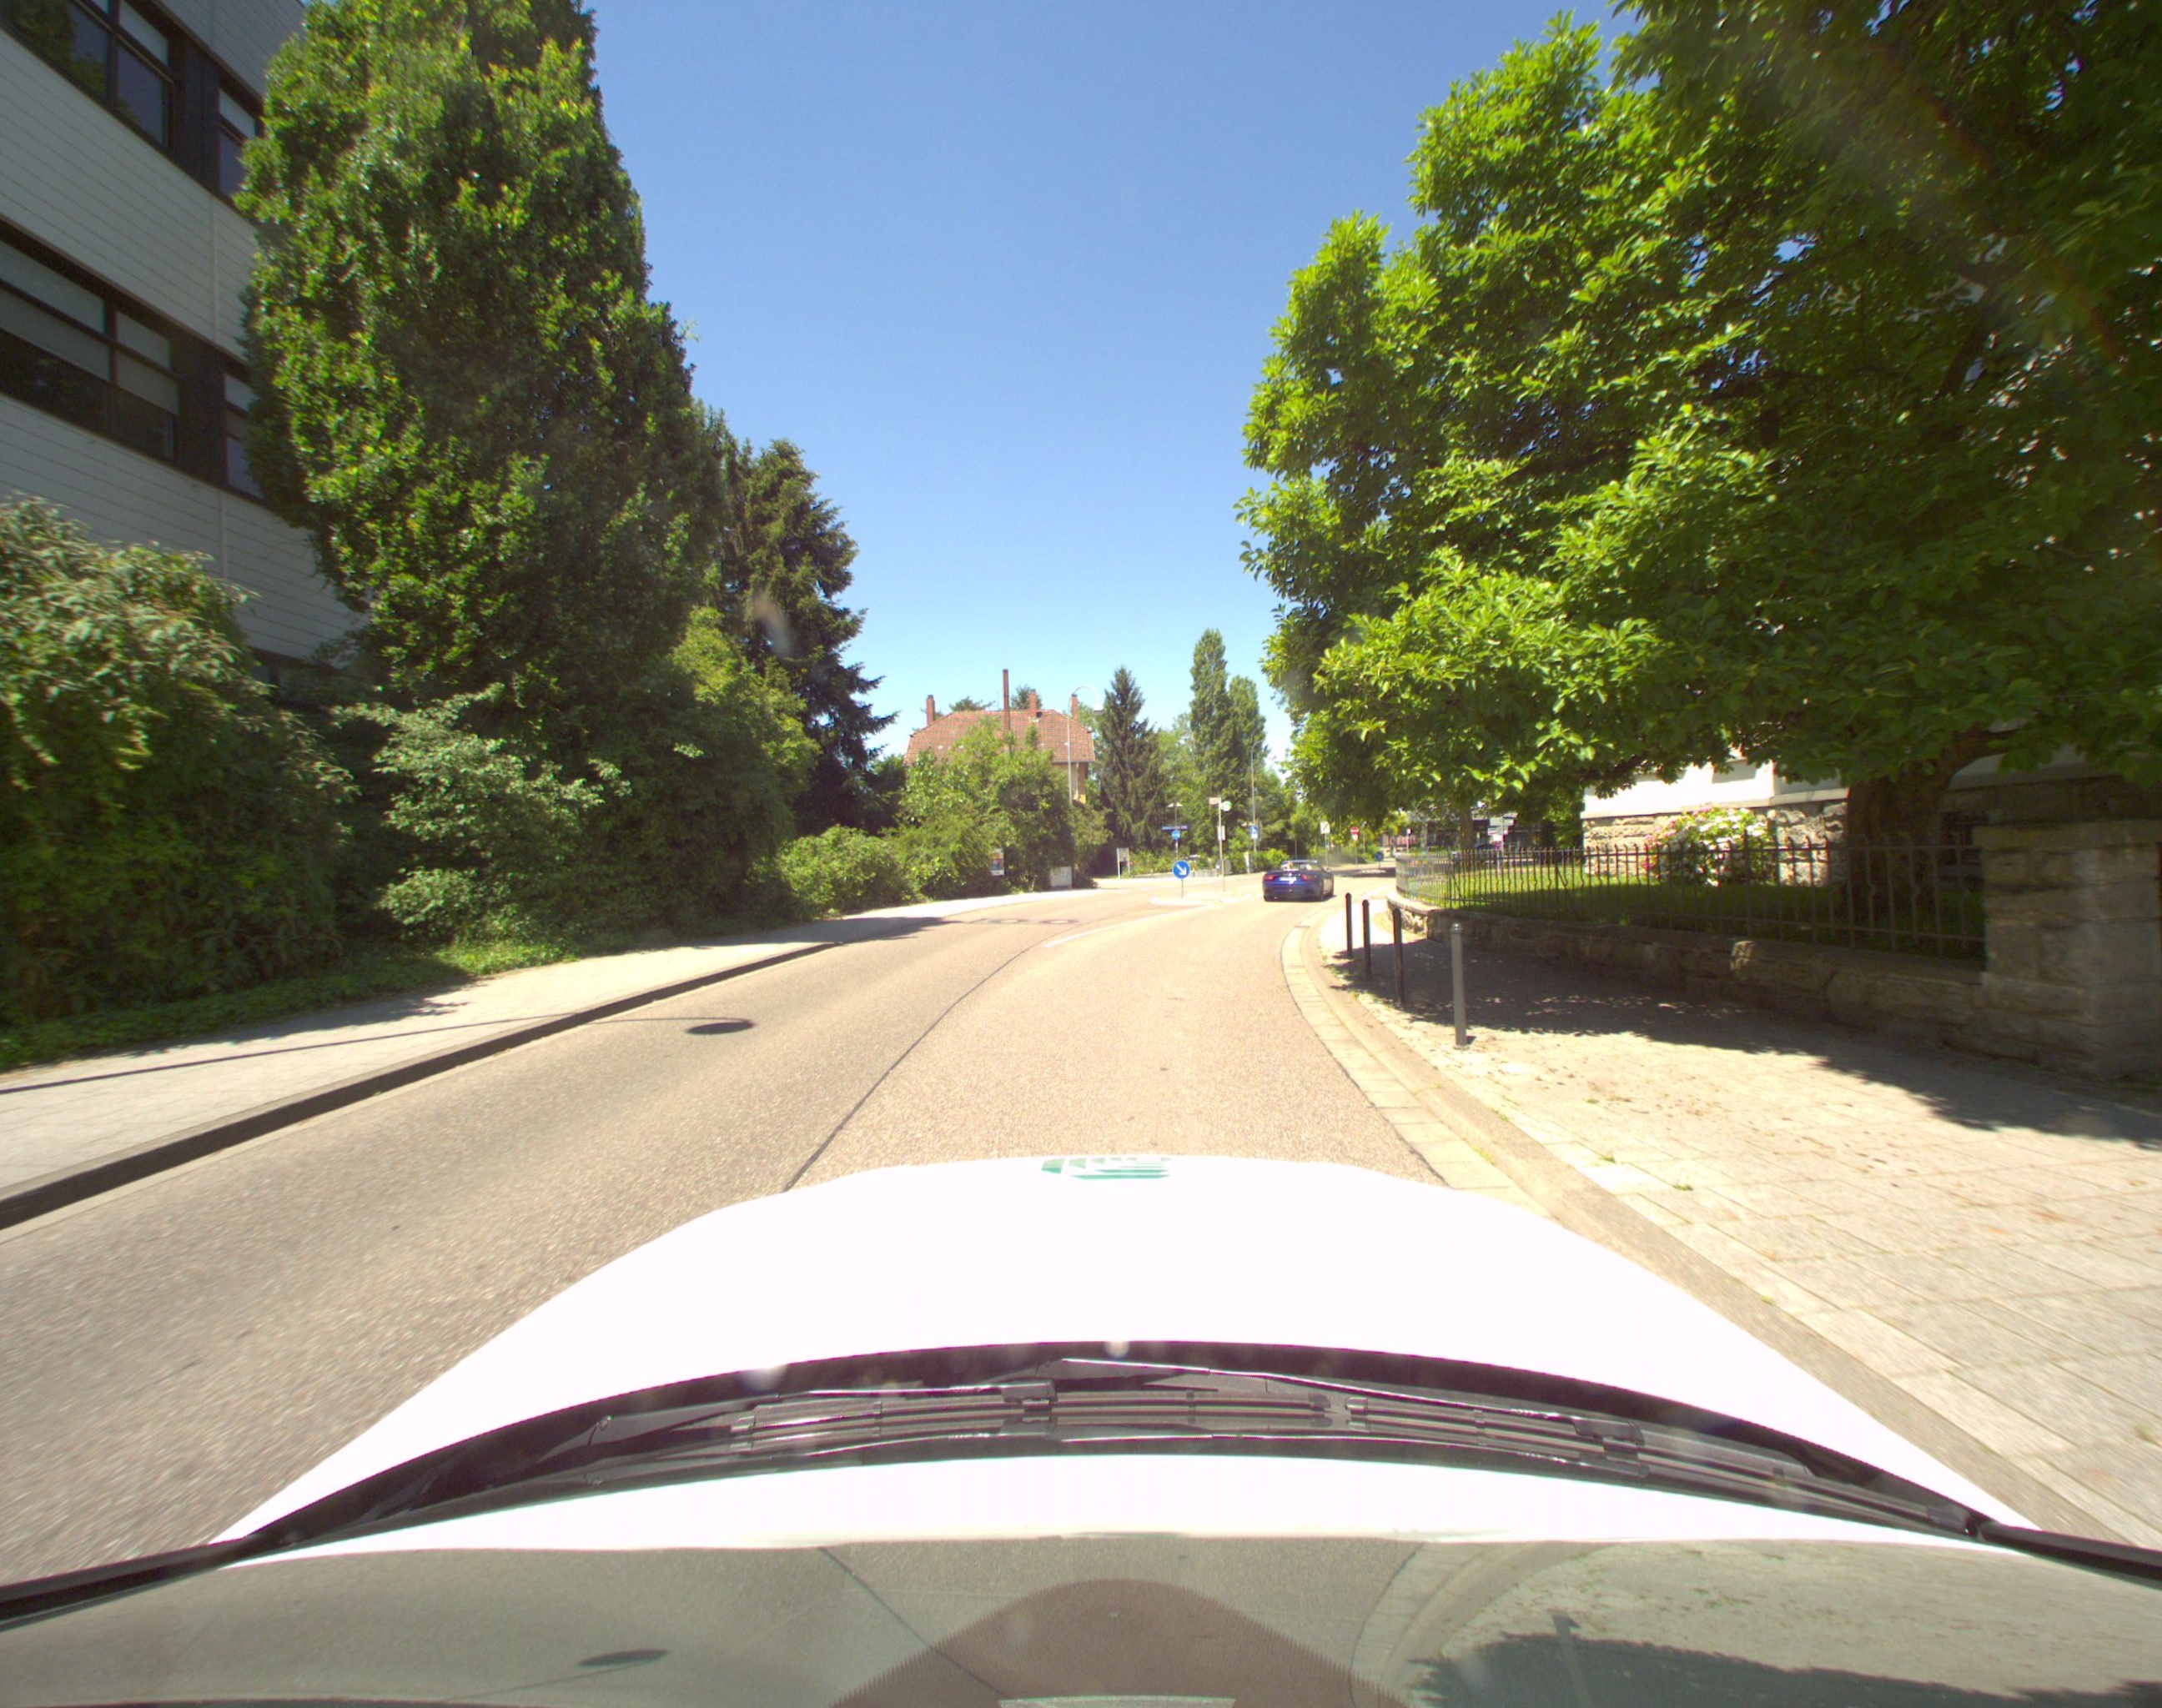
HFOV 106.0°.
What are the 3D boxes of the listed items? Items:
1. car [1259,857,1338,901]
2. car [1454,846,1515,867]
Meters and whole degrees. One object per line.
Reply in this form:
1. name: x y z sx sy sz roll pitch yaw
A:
1. car: 7.528 0.808 27.906 1.810 1.337 4.727 -1 0 25
2. car: 32.797 0.199 66.255 4.473 1.576 1.814 -1 0 -20
